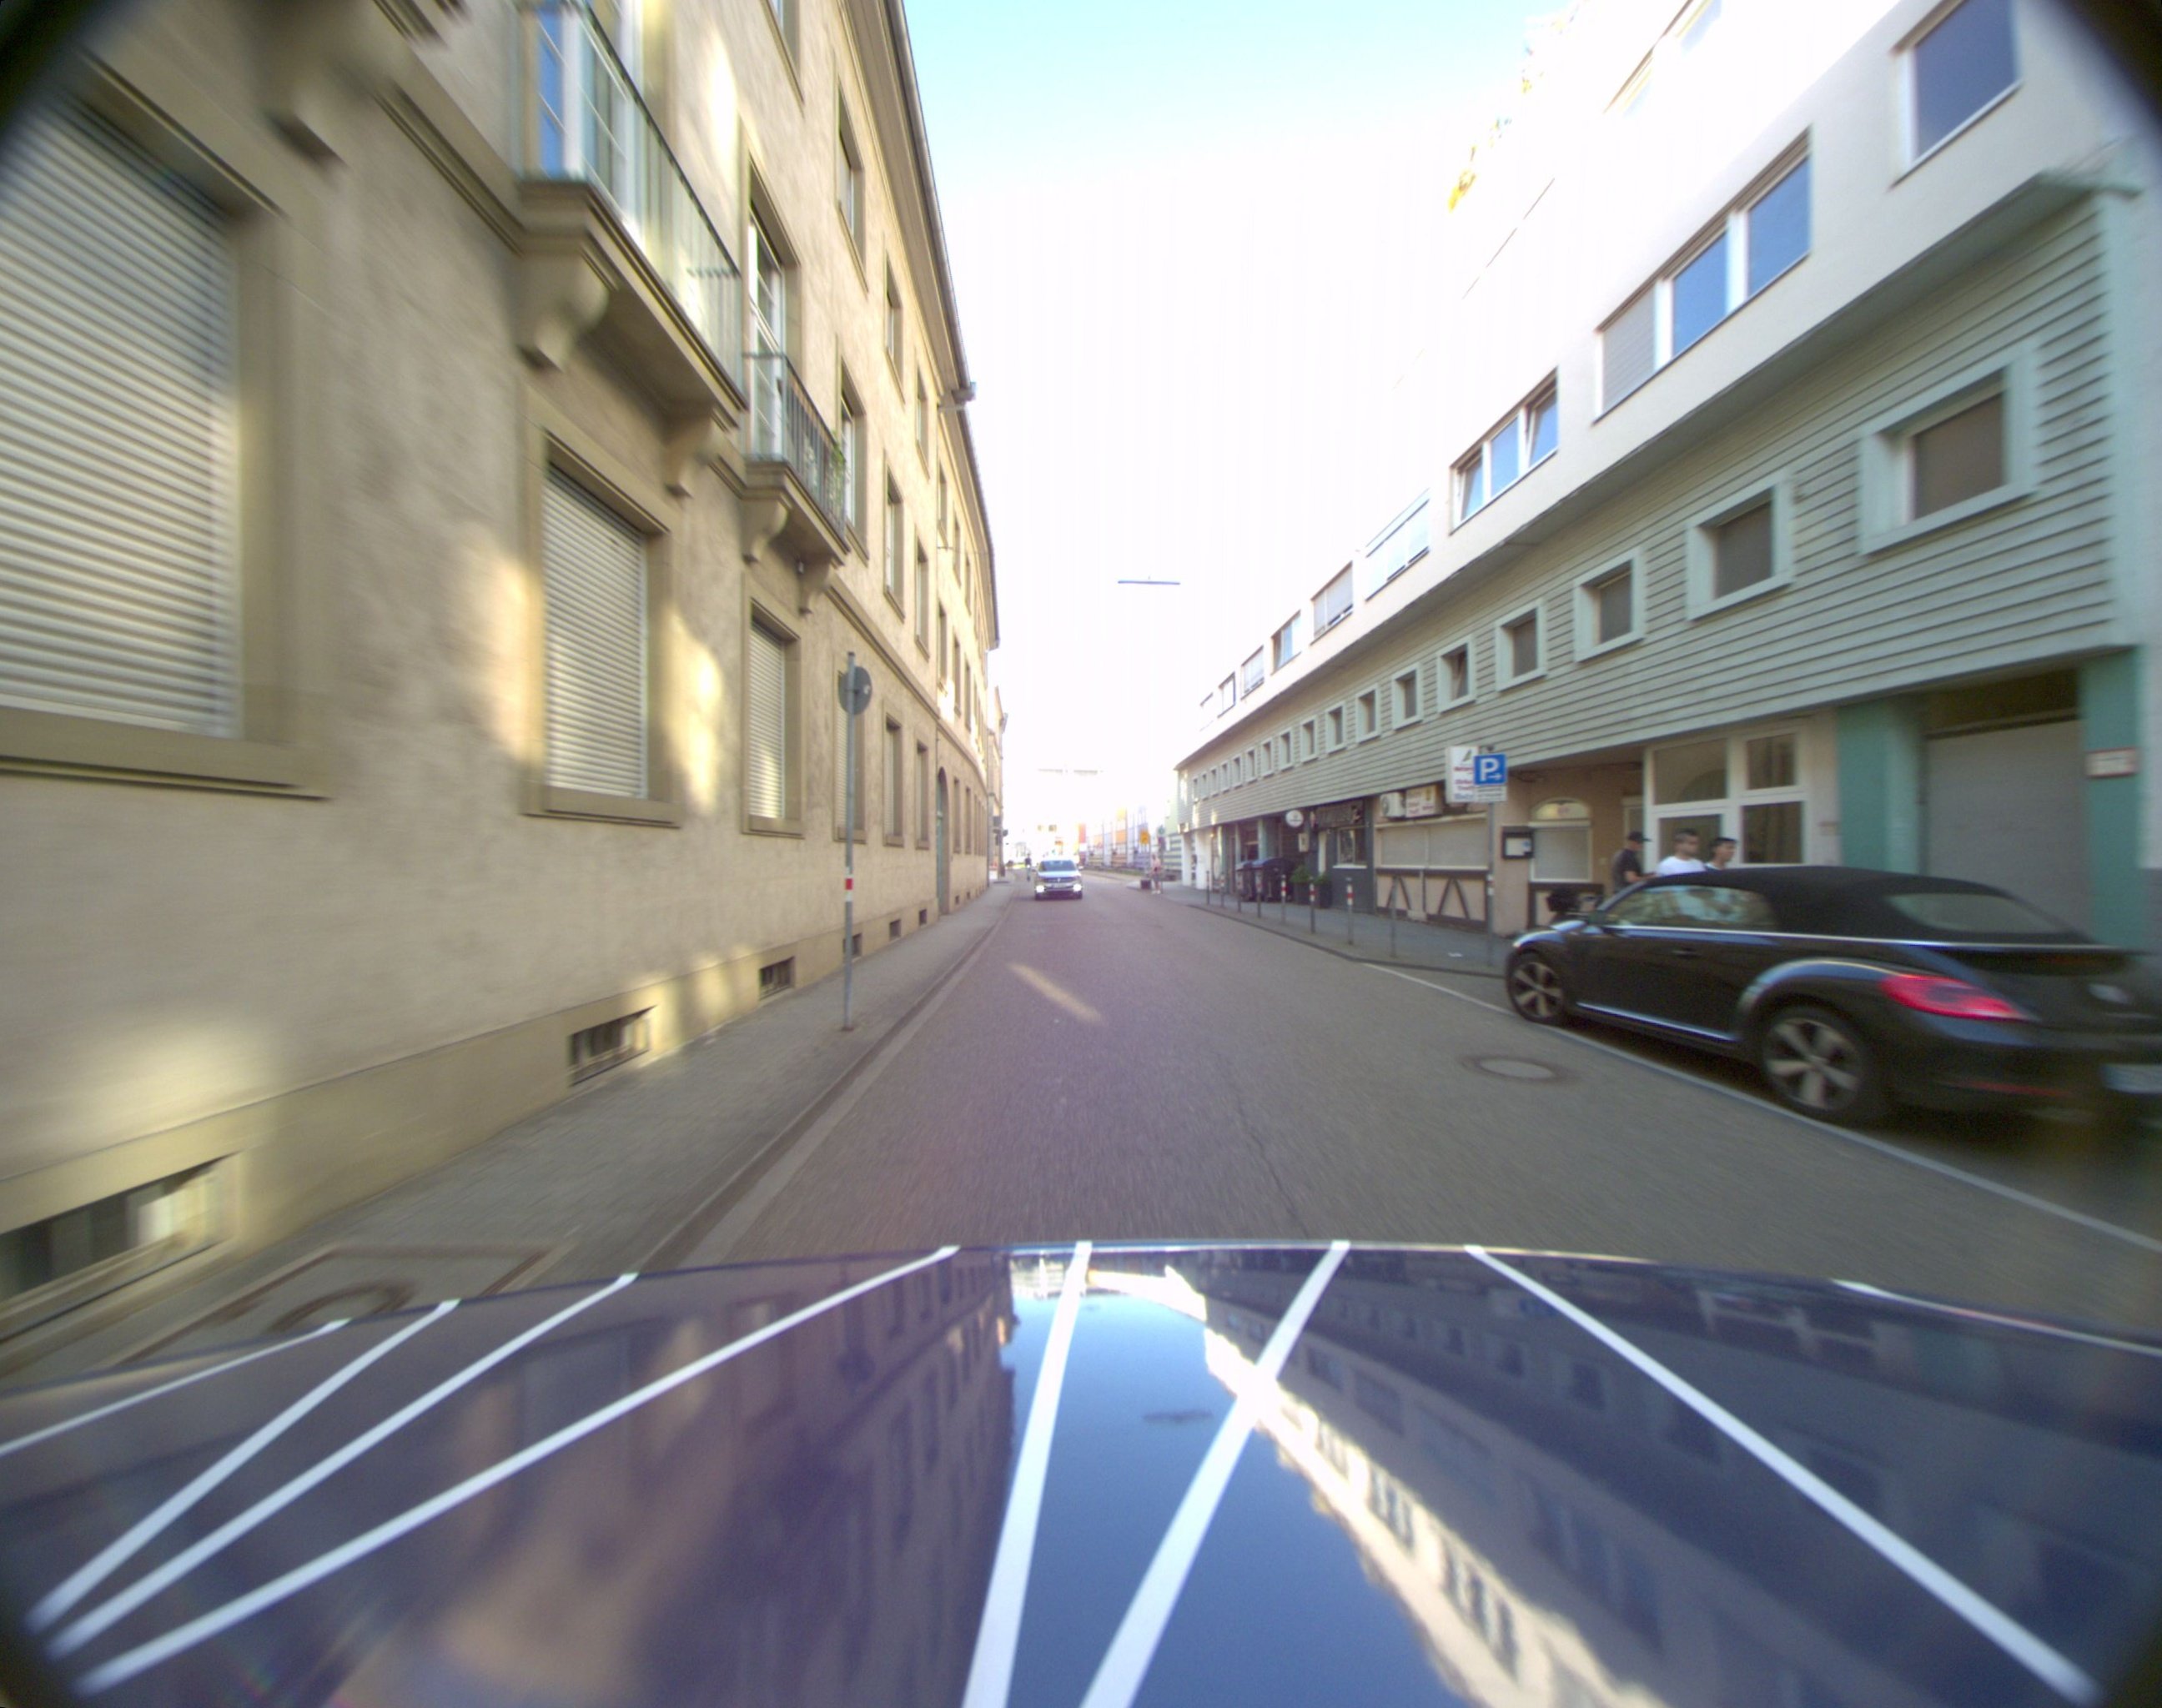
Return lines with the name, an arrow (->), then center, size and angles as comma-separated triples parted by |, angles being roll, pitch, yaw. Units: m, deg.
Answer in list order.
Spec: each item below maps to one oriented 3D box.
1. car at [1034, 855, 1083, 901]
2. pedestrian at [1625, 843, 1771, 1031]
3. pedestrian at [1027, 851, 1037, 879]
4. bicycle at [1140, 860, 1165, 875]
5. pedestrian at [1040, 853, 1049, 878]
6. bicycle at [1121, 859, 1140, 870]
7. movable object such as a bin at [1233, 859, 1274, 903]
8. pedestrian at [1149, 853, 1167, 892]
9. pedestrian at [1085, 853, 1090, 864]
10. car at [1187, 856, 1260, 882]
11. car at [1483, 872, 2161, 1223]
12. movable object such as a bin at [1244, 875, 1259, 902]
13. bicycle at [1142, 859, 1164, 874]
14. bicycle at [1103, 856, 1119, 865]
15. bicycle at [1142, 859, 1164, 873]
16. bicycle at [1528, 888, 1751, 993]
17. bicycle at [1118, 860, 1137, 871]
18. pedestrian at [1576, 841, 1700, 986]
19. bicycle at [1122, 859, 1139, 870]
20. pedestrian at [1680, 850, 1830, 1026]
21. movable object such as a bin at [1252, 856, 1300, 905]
car -> -0.810, 0.876, 29.533 | 1.683, 1.568, 4.242 | -3, 0, 0
pedestrian -> 5.993, 0.768, 7.428 | 0.700, 1.724, 0.829 | 1, 0, -2
pedestrian -> -3.331, 0.735, 51.545 | 0.678, 1.928, 0.858 | 0, 0, -5
bicycle -> 5.683, 1.054, 60.191 | 1.821, 1.094, 0.749 | -4, 1, -5
pedestrian -> -2.534, 0.790, 53.117 | 0.603, 1.770, 0.651 | 0, 0, -5
bicycle -> 4.868, 1.024, 74.768 | 1.803, 0.940, 0.388 | -4, 1, -4
movable object such as a bin -> 5.863, 0.901, 25.893 | 0.971, 1.462, 1.474 | 0, -1, -4
pedestrian -> 3.303, 0.785, 32.650 | 0.494, 1.660, 0.627 | -3, 1, -16
pedestrian -> 0.918, 0.612, 106.628 | 0.612, 1.641, 0.447 | 0, 0, -10
car -> 8.453, 0.888, 45.142 | 3.943, 1.511, 1.692 | 0, 0, -5
car -> 4.995, 0.956, 5.520 | 1.824, 1.477, 4.075 | 2, 0, -2
movable object such as a bin -> 6.038, 1.206, 26.912 | 0.394, 0.936, 0.467 | 0, 0, -4
bicycle -> 5.845, 1.027, 61.642 | 1.739, 1.094, 0.388 | -4, 1, -11
bicycle -> 3.580, 0.762, 90.737 | 1.808, 0.977, 0.653 | -5, 1, -8
bicycle -> 5.892, 0.973, 62.050 | 1.739, 1.094, 0.388 | -4, 1, -11
bicycle -> 6.946, 1.044, 9.602 | 2.130, 1.156, 0.825 | 0, 0, 21
bicycle -> 4.554, 1.084, 74.051 | 1.803, 0.940, 0.388 | -4, 1, -4
pedestrian -> 6.976, 0.705, 9.587 | 1.079, 1.718, 0.803 | 0, 0, 21
bicycle -> 4.972, 1.053, 76.034 | 1.658, 0.940, 0.388 | -4, 1, -4
pedestrian -> 6.727, 0.792, 7.631 | 0.674, 1.660, 0.894 | 1, 0, -2
movable object such as a bin -> 6.195, 0.823, 24.270 | 1.125, 1.511, 1.341 | 0, -1, -4
